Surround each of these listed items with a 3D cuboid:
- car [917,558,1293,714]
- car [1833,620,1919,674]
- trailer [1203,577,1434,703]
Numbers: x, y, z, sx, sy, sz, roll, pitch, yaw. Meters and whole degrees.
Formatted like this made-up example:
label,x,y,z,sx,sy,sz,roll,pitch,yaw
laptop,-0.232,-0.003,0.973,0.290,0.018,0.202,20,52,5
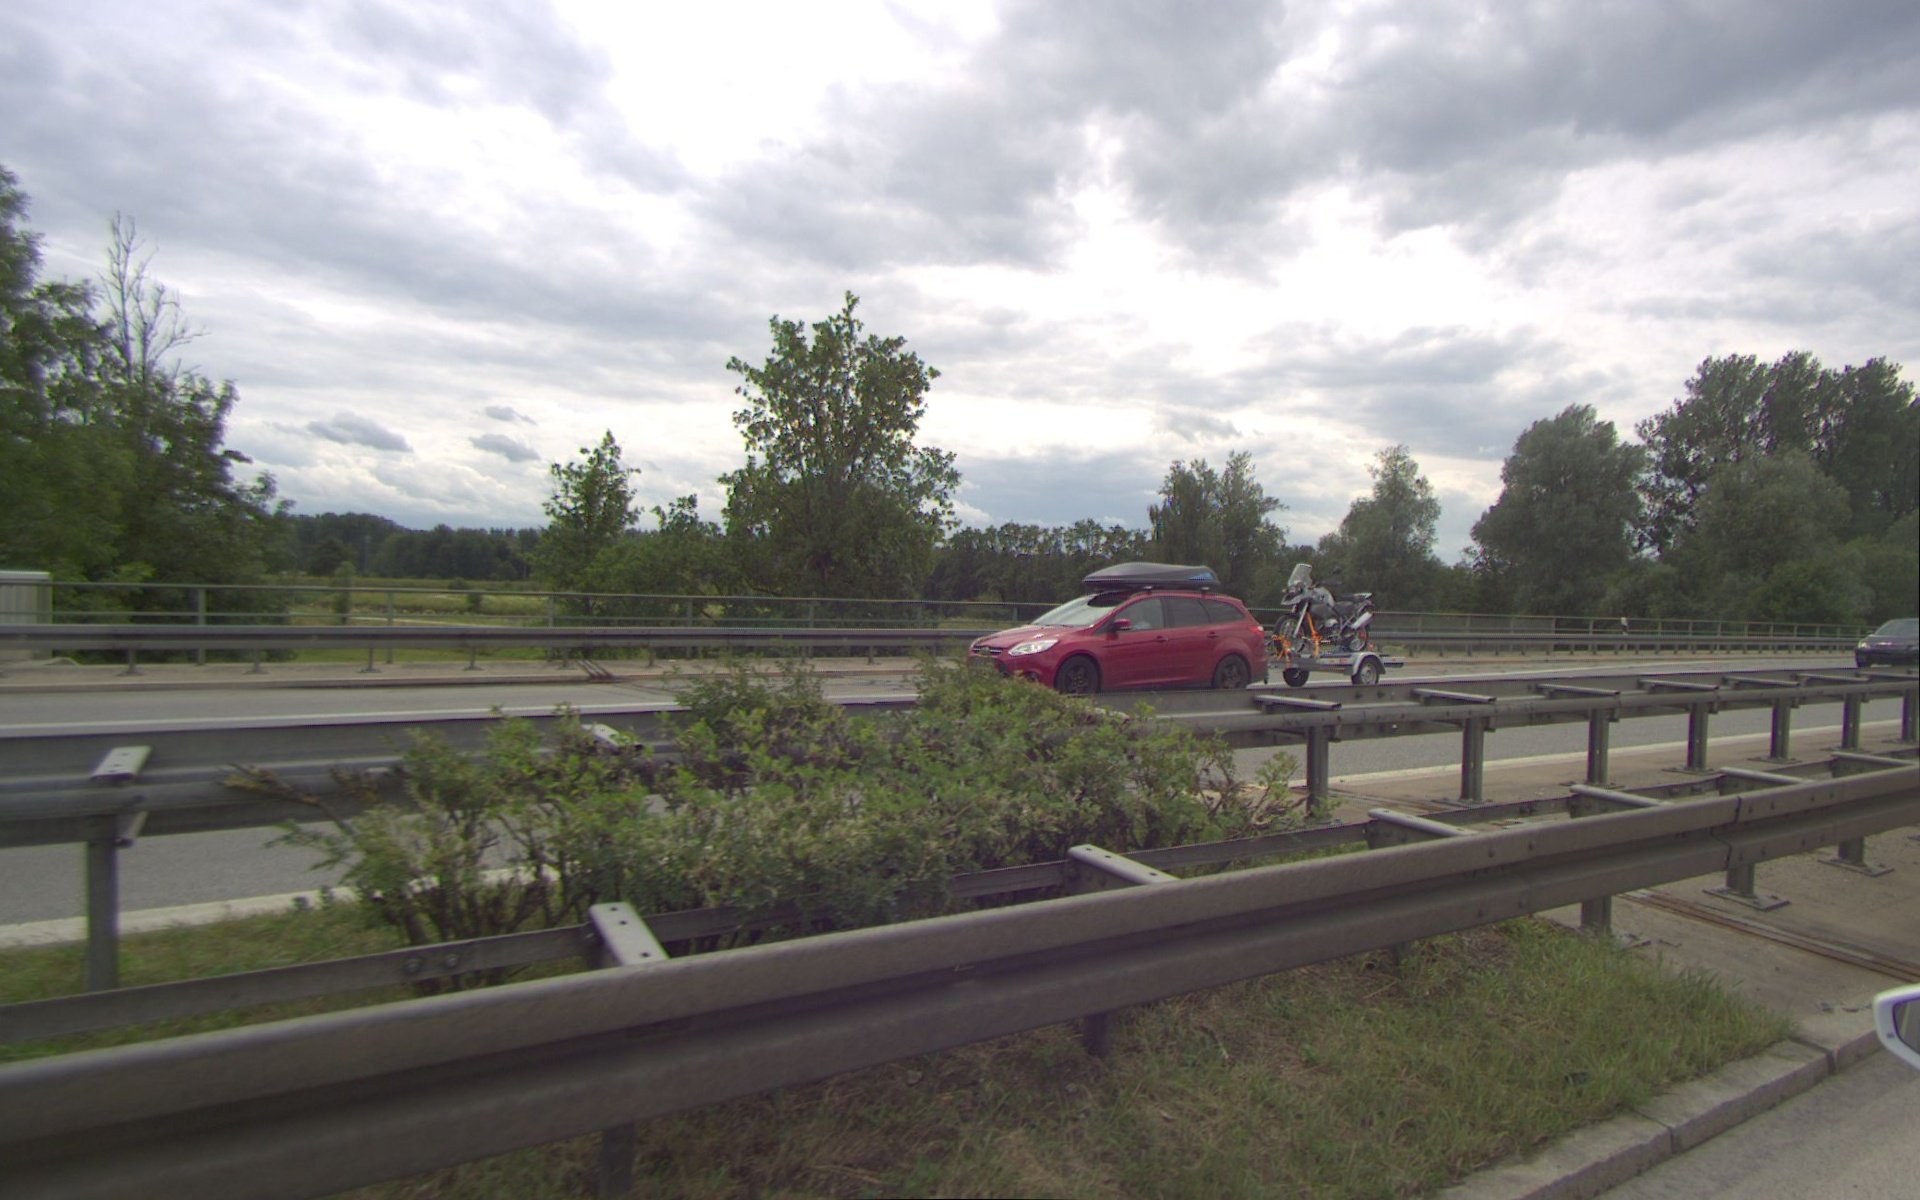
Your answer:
label,x,y,z,sx,sy,sz,roll,pitch,yaw
car,2.038,0.453,13.560,4.888,1.784,1.960,1,0,-31
car,27.039,1.302,28.614,4.655,1.422,1.960,1,-1,-31
trailer,5.636,0.583,15.751,3.337,1.772,1.639,1,1,-31
